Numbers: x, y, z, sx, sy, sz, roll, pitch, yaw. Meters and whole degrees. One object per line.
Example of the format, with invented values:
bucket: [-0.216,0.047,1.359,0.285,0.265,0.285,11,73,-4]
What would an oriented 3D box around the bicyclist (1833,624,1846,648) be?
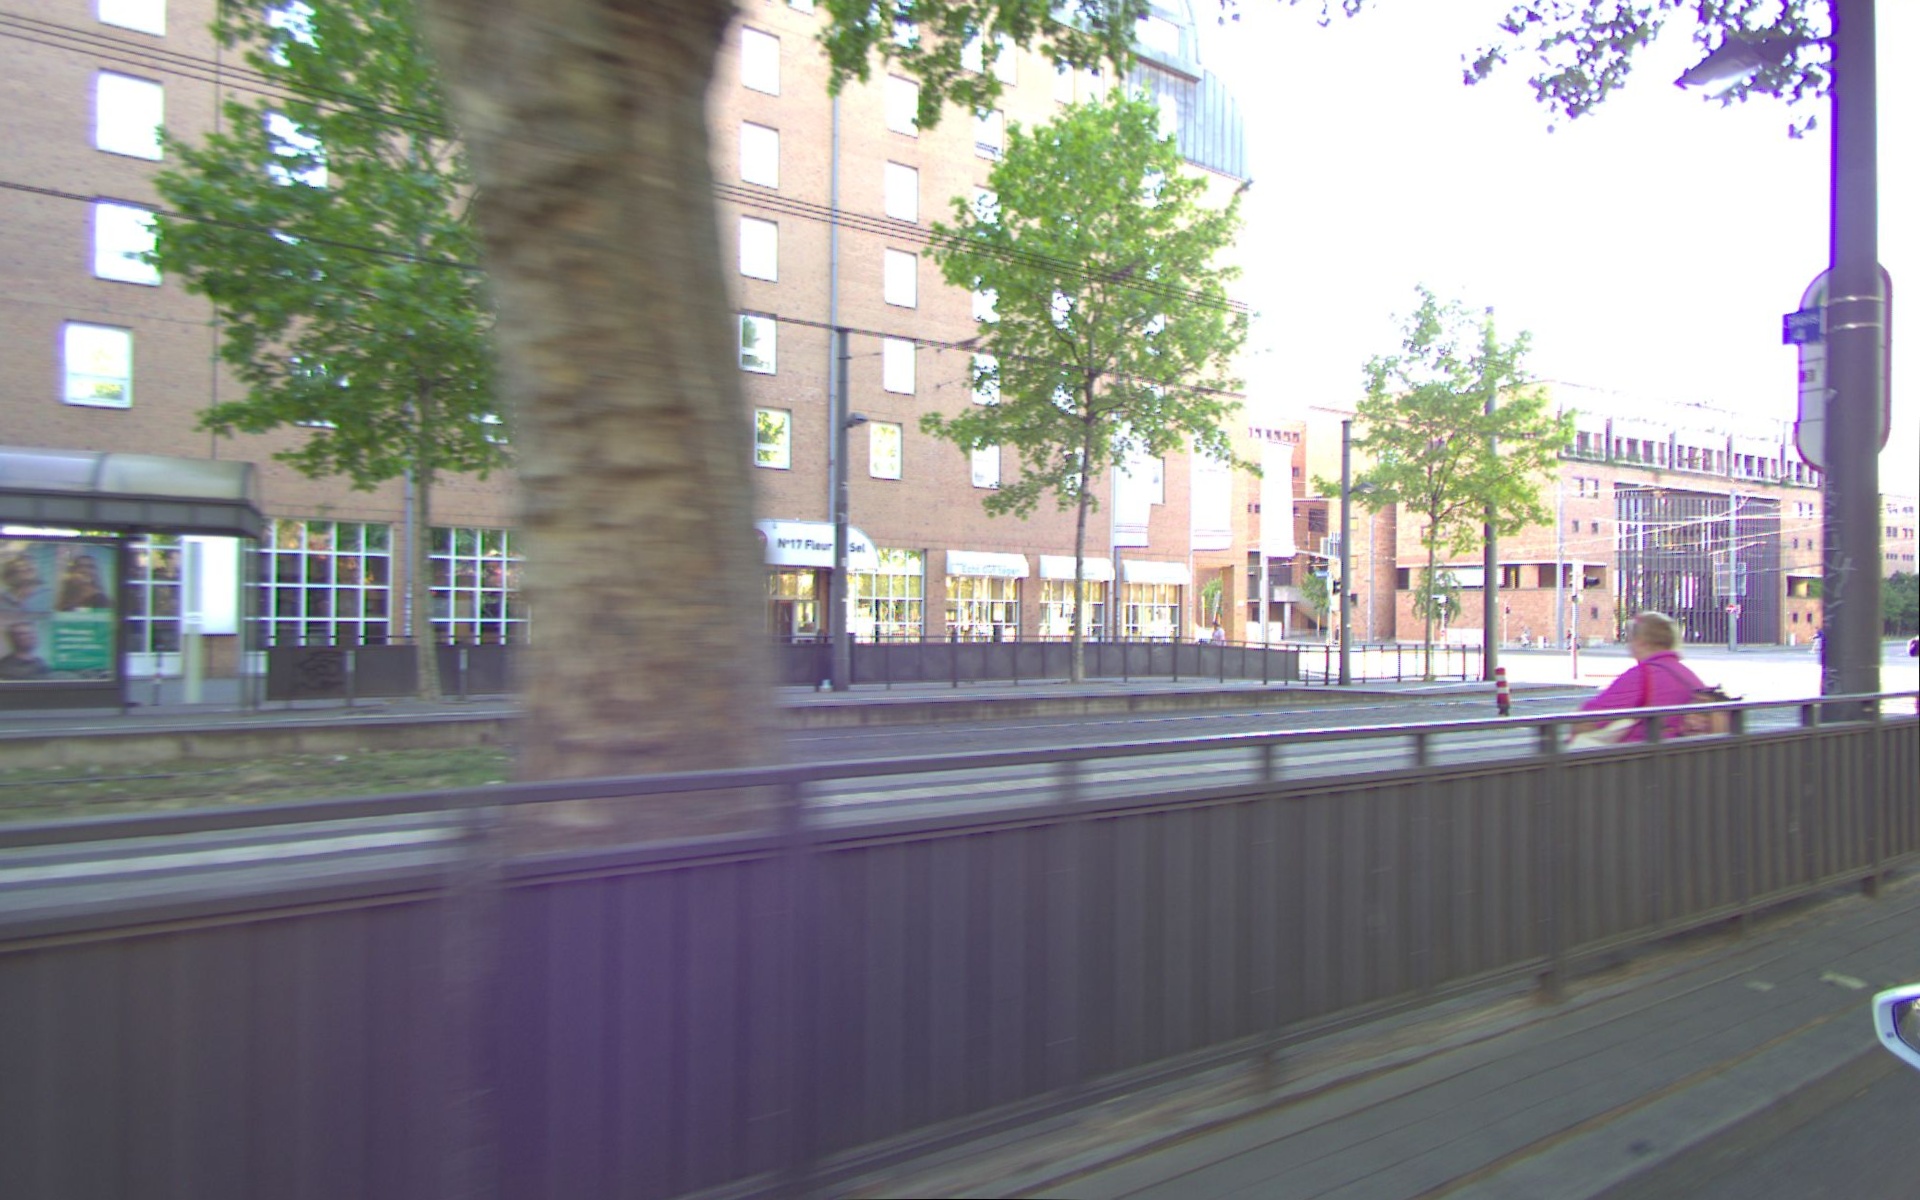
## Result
bicyclist: [63.392,2.598,72.396,0.783,1.697,0.588,1,-1,-39]

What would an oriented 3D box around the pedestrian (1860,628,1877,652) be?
pedestrian: [61.531,2.707,68.050,0.504,1.550,0.748,1,0,-39]

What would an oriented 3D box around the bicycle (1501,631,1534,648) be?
bicycle: [41.335,2.896,74.470,2.054,1.255,0.453,0,-1,14]

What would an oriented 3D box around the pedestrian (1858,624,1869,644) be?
pedestrian: [84.019,3.153,93.425,0.538,1.834,0.639,1,-1,-26]

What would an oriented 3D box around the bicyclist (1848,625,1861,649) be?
bicyclist: [64.002,2.617,71.892,0.783,1.697,0.588,1,-1,-39]

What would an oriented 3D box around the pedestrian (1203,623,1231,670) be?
pedestrian: [9.078,1.650,35.486,0.718,1.606,0.585,1,1,-34]

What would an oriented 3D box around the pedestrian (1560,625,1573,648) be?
pedestrian: [43.281,2.604,71.658,0.560,1.635,0.545,0,-1,-2]

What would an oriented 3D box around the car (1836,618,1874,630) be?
car: [131.901,3.548,148.051,3.925,1.572,1.605,2,0,27]

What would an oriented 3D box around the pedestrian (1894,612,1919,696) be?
pedestrian: [22.133,1.247,22.938,0.733,1.896,1.064,2,0,-39]

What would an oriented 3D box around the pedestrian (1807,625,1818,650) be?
pedestrian: [57.453,2.540,67.714,0.530,1.672,0.623,-1,-2,38]

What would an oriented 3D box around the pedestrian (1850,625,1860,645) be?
pedestrian: [82.825,3.218,92.976,0.538,1.803,0.520,1,-1,-26]

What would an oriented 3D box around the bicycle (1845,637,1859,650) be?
bicycle: [63.895,3.135,71.941,1.825,0.893,0.508,2,-2,-41]

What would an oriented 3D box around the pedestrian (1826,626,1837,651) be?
pedestrian: [59.507,2.644,68.594,0.530,1.672,0.623,-1,-2,38]

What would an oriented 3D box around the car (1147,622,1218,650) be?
car: [14.481,2.333,65.541,1.983,1.719,4.311,1,-2,-39]

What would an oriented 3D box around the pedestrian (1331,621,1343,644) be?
pedestrian: [27.480,2.391,73.215,0.608,1.635,0.539,-1,2,-38]

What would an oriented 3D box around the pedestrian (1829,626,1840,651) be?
pedestrian: [58.623,2.565,67.338,0.530,1.672,0.623,-1,-2,38]

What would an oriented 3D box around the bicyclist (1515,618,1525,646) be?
bicyclist: [41.470,2.391,74.443,0.551,2.087,0.451,0,-1,15]

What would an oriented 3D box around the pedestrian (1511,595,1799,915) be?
pedestrian: [3.468,0.701,5.070,0.656,1.418,0.973,2,0,-28]

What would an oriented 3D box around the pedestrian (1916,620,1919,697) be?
pedestrian: [21.842,1.318,22.109,0.751,1.704,1.063,2,0,-39]
